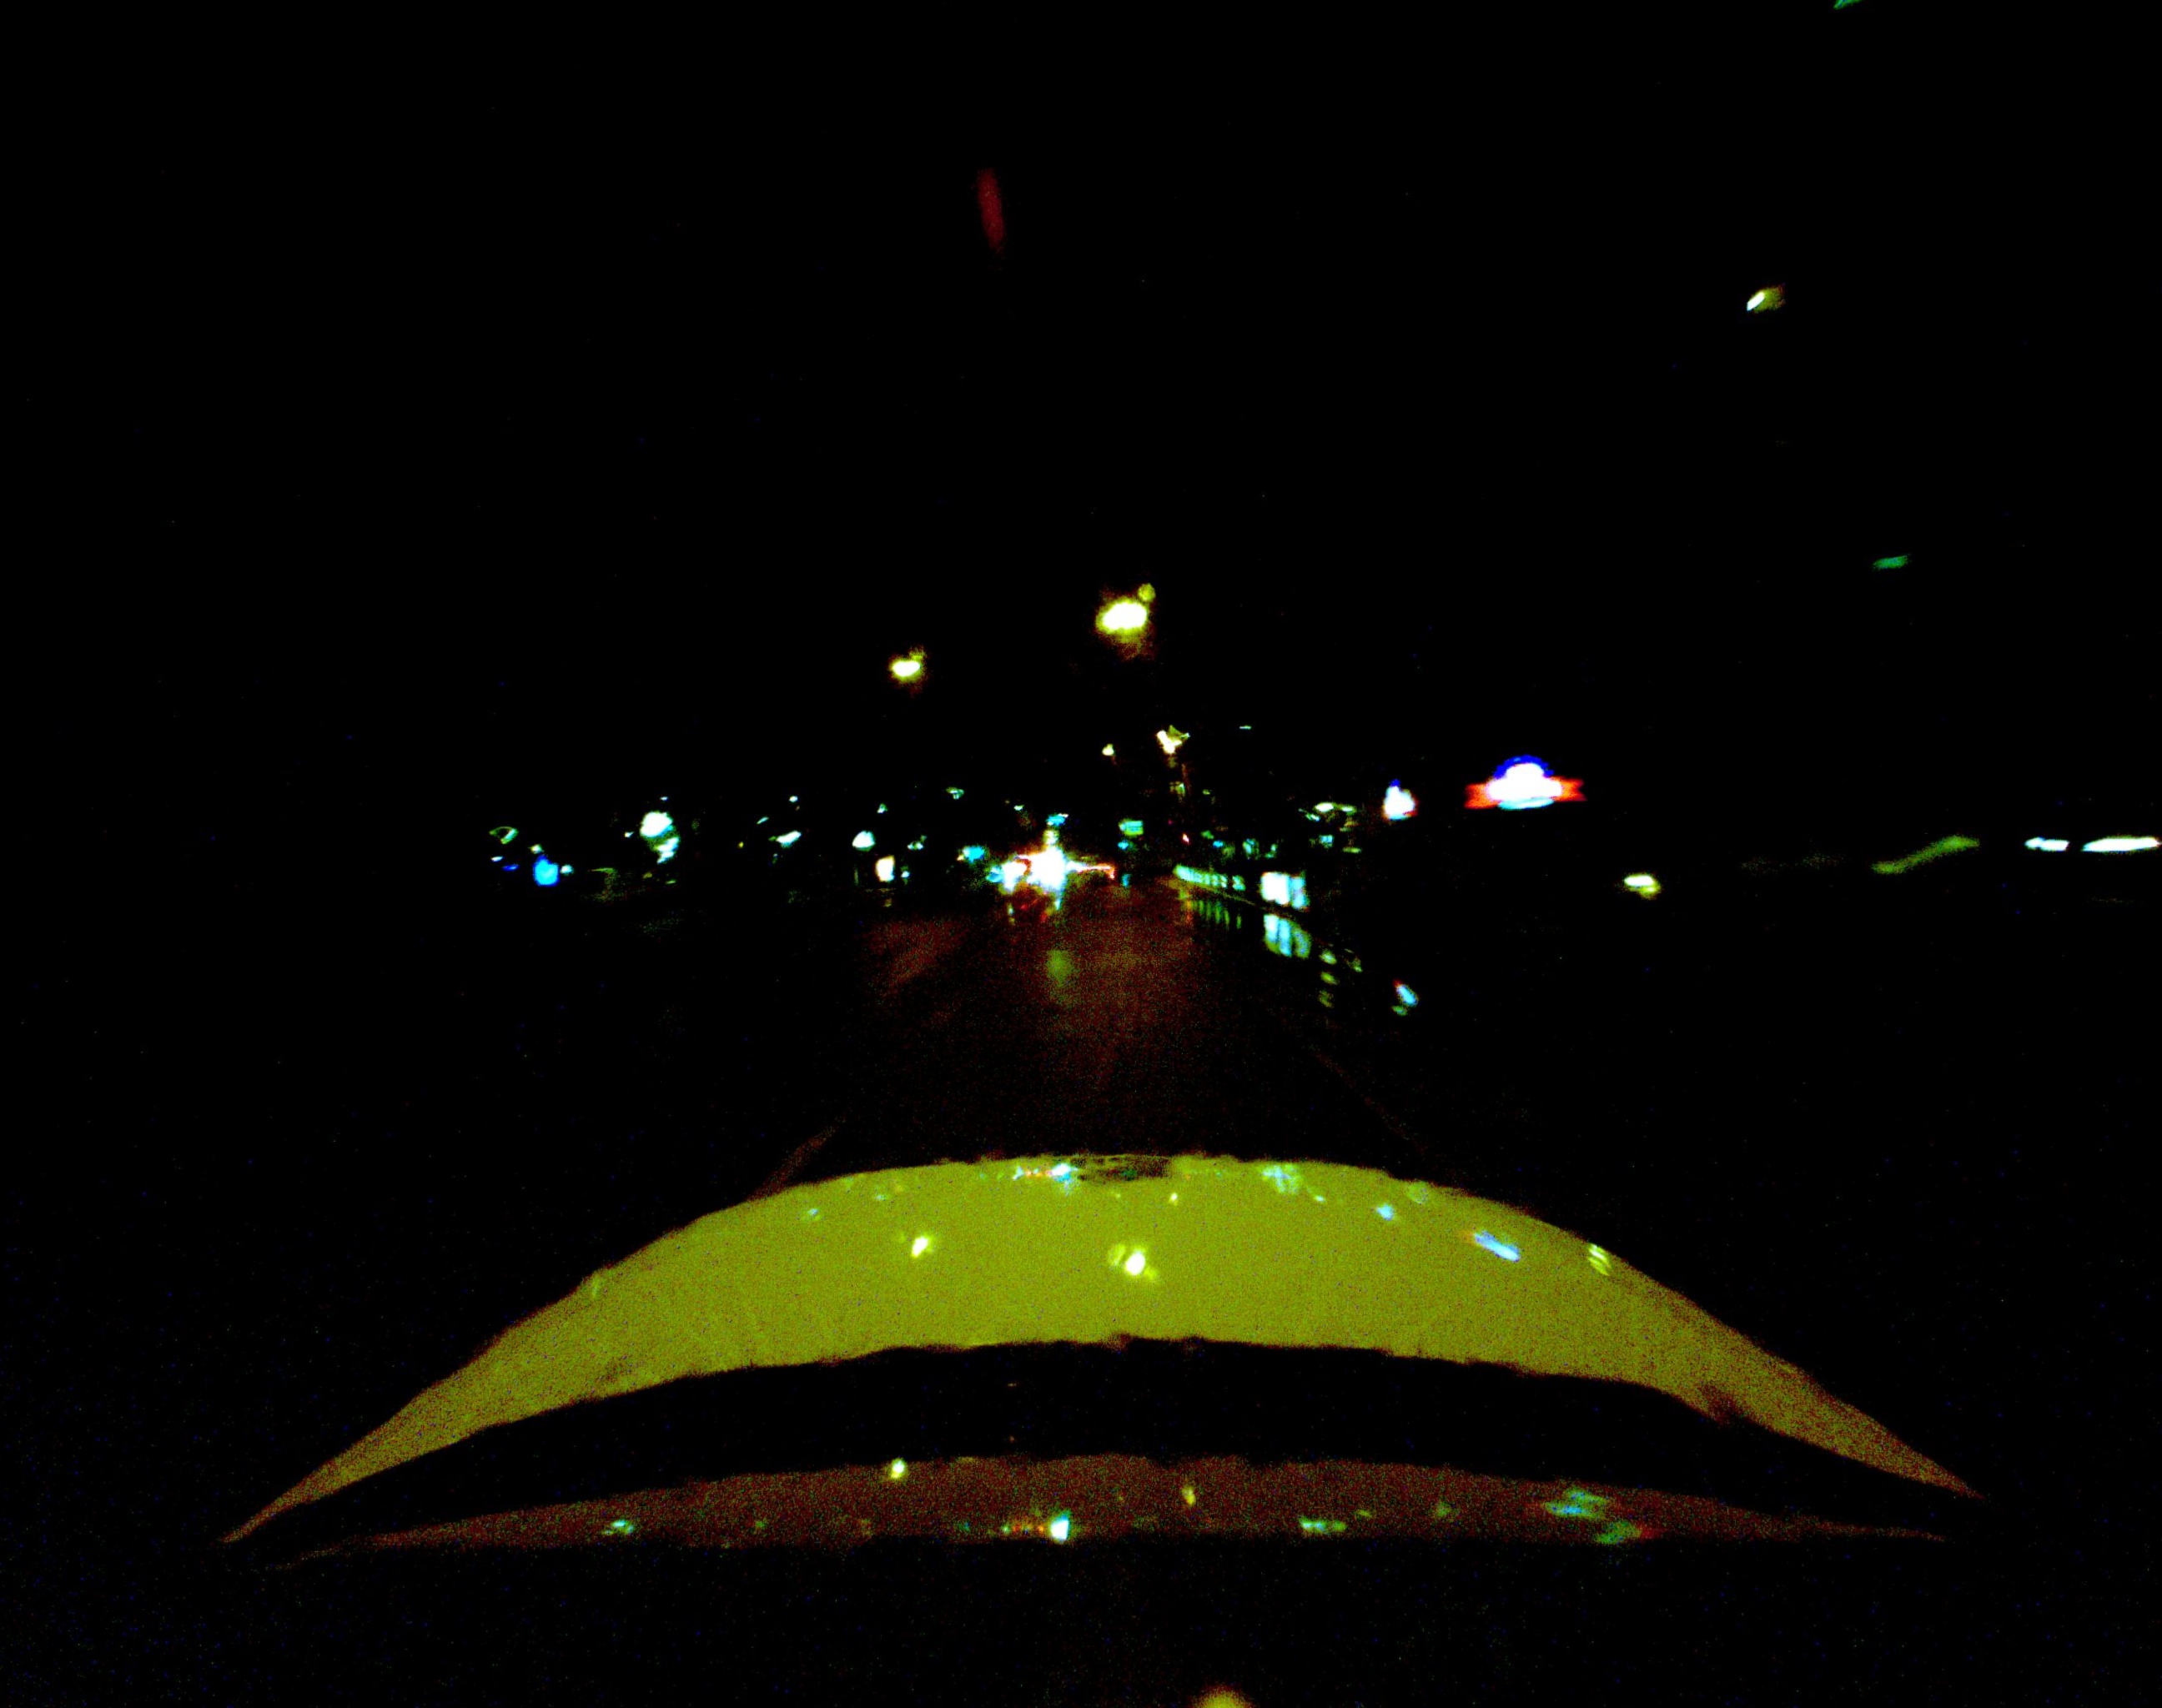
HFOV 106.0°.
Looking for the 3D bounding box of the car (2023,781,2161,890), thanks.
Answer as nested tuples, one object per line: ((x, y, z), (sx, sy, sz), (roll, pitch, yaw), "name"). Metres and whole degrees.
((20.448, -0.398, 14.963), (3.973, 1.871, 1.929), (-3, 0, 1), "car")

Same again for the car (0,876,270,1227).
((-5.802, 0.991, 2.695), (1.592, 1.564, 4.382), (-6, 0, 2), "car")

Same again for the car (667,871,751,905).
((-19.590, 1.766, 43.043), (1.699, 1.520, 3.939), (-3, 0, 21), "car")

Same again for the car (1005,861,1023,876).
((-7.465, 1.582, 91.190), (1.849, 1.499, 4.762), (-3, 0, -5), "car")

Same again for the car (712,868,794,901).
((-17.118, 1.571, 42.673), (1.699, 1.431, 3.939), (-3, 0, 21), "car")

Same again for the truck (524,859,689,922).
((-18.109, 1.321, 31.459), (2.105, 2.013, 5.289), (-3, 0, 20), "truck")

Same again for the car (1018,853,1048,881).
((-3.782, 0.998, 65.114), (2.029, 1.953, 5.196), (-5, 1, -2), "car")

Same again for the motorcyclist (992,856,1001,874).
((-9.517, 1.246, 91.474), (0.690, 2.013, 0.983), (-3, 0, 3), "motorcyclist")

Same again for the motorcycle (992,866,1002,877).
((-9.467, 1.932, 91.526), (0.698, 1.138, 2.177), (-3, 0, 3), "motorcycle")

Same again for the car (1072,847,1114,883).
((0.679, 0.657, 49.454), (2.163, 1.972, 4.297), (-4, 0, -3), "car")

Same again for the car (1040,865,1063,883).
((-2.741, 1.788, 74.595), (1.814, 1.542, 4.719), (-3, -1, -4), "car")
